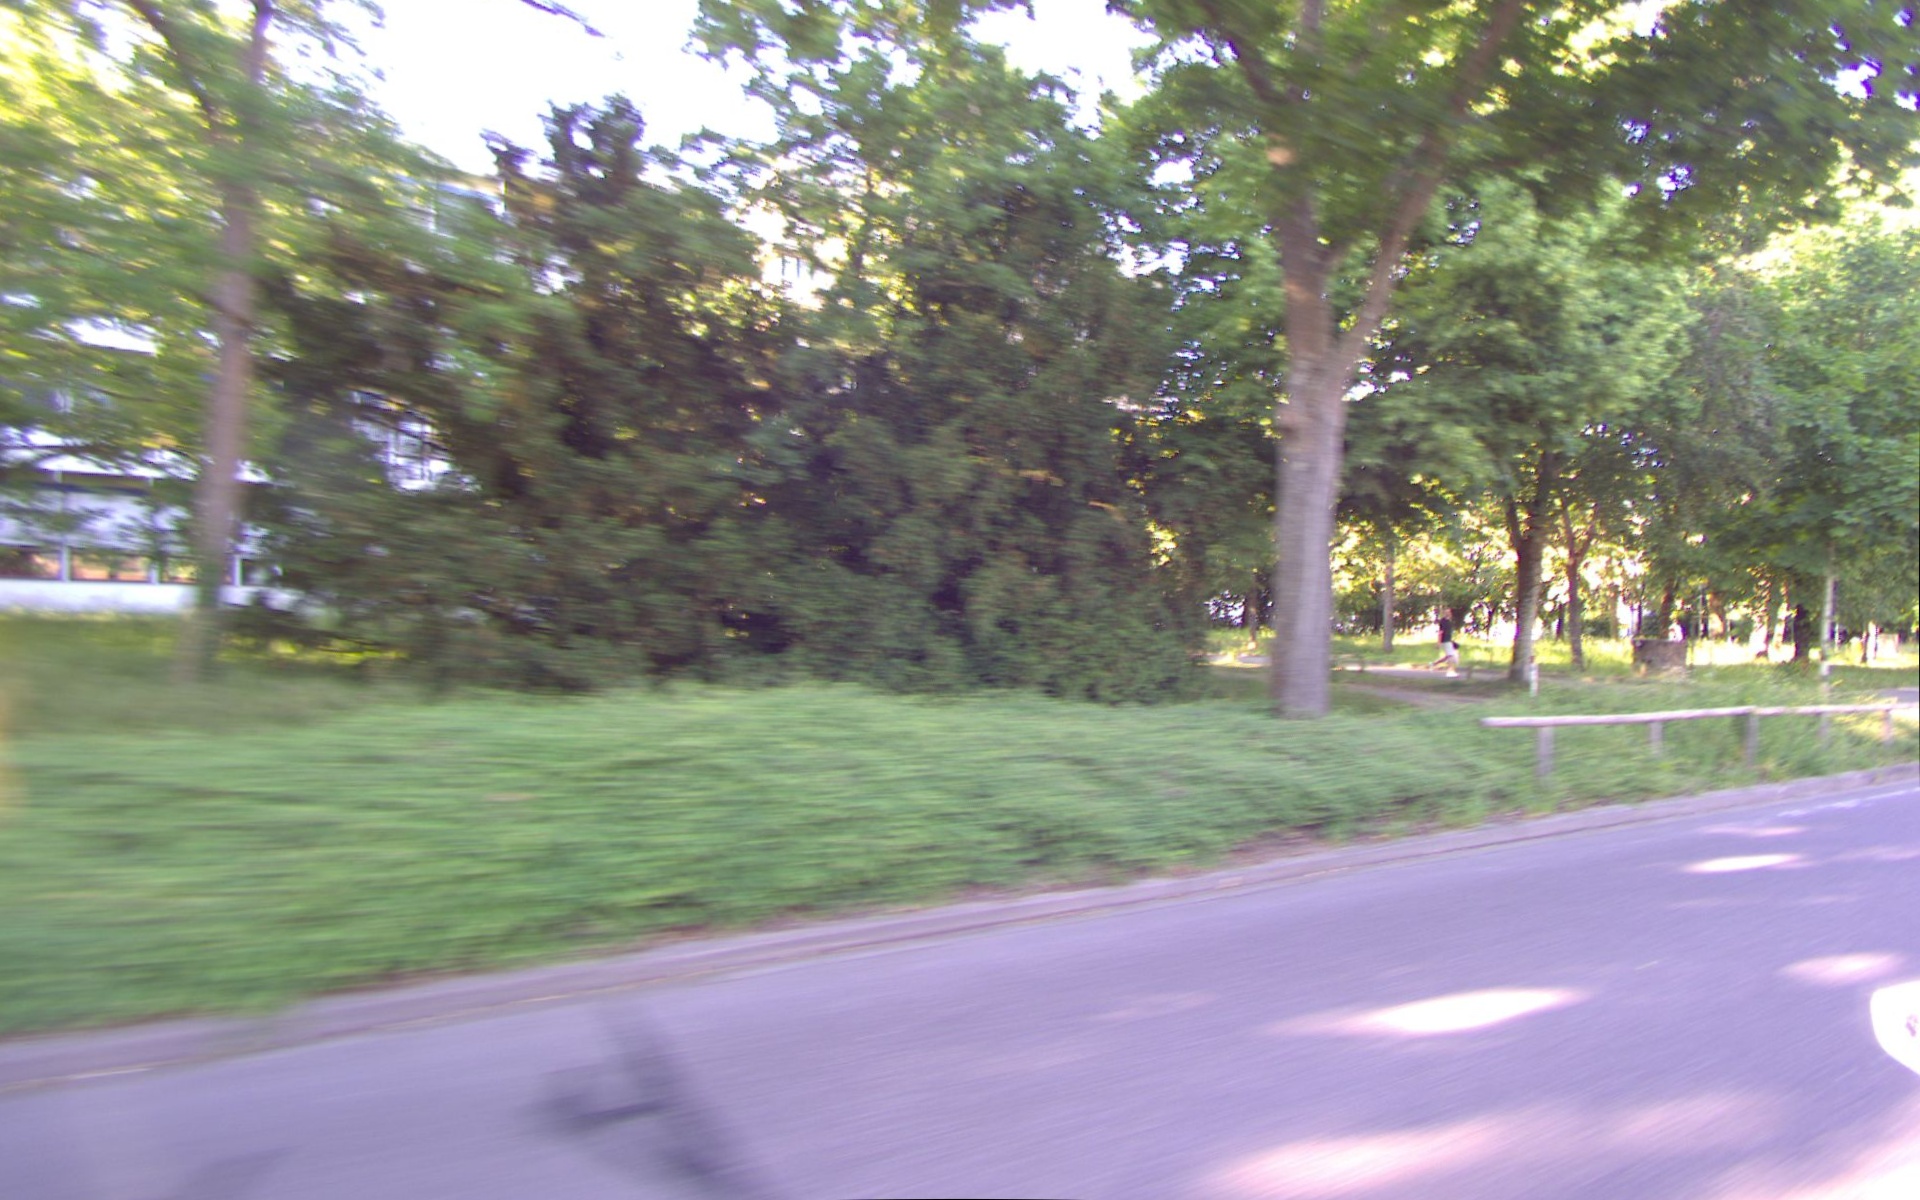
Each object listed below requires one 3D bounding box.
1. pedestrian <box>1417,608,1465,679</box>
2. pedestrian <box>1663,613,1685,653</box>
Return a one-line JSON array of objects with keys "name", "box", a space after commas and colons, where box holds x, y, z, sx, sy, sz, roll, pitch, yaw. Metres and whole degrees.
[{"name": "pedestrian", "box": [12.903, 1.161, 26.949, 0.713, 1.845, 0.897, 1, 0, -33]}, {"name": "pedestrian", "box": [37.341, 1.717, 52.527, 0.584, 2.040, 0.751, 1, 0, -34]}]
